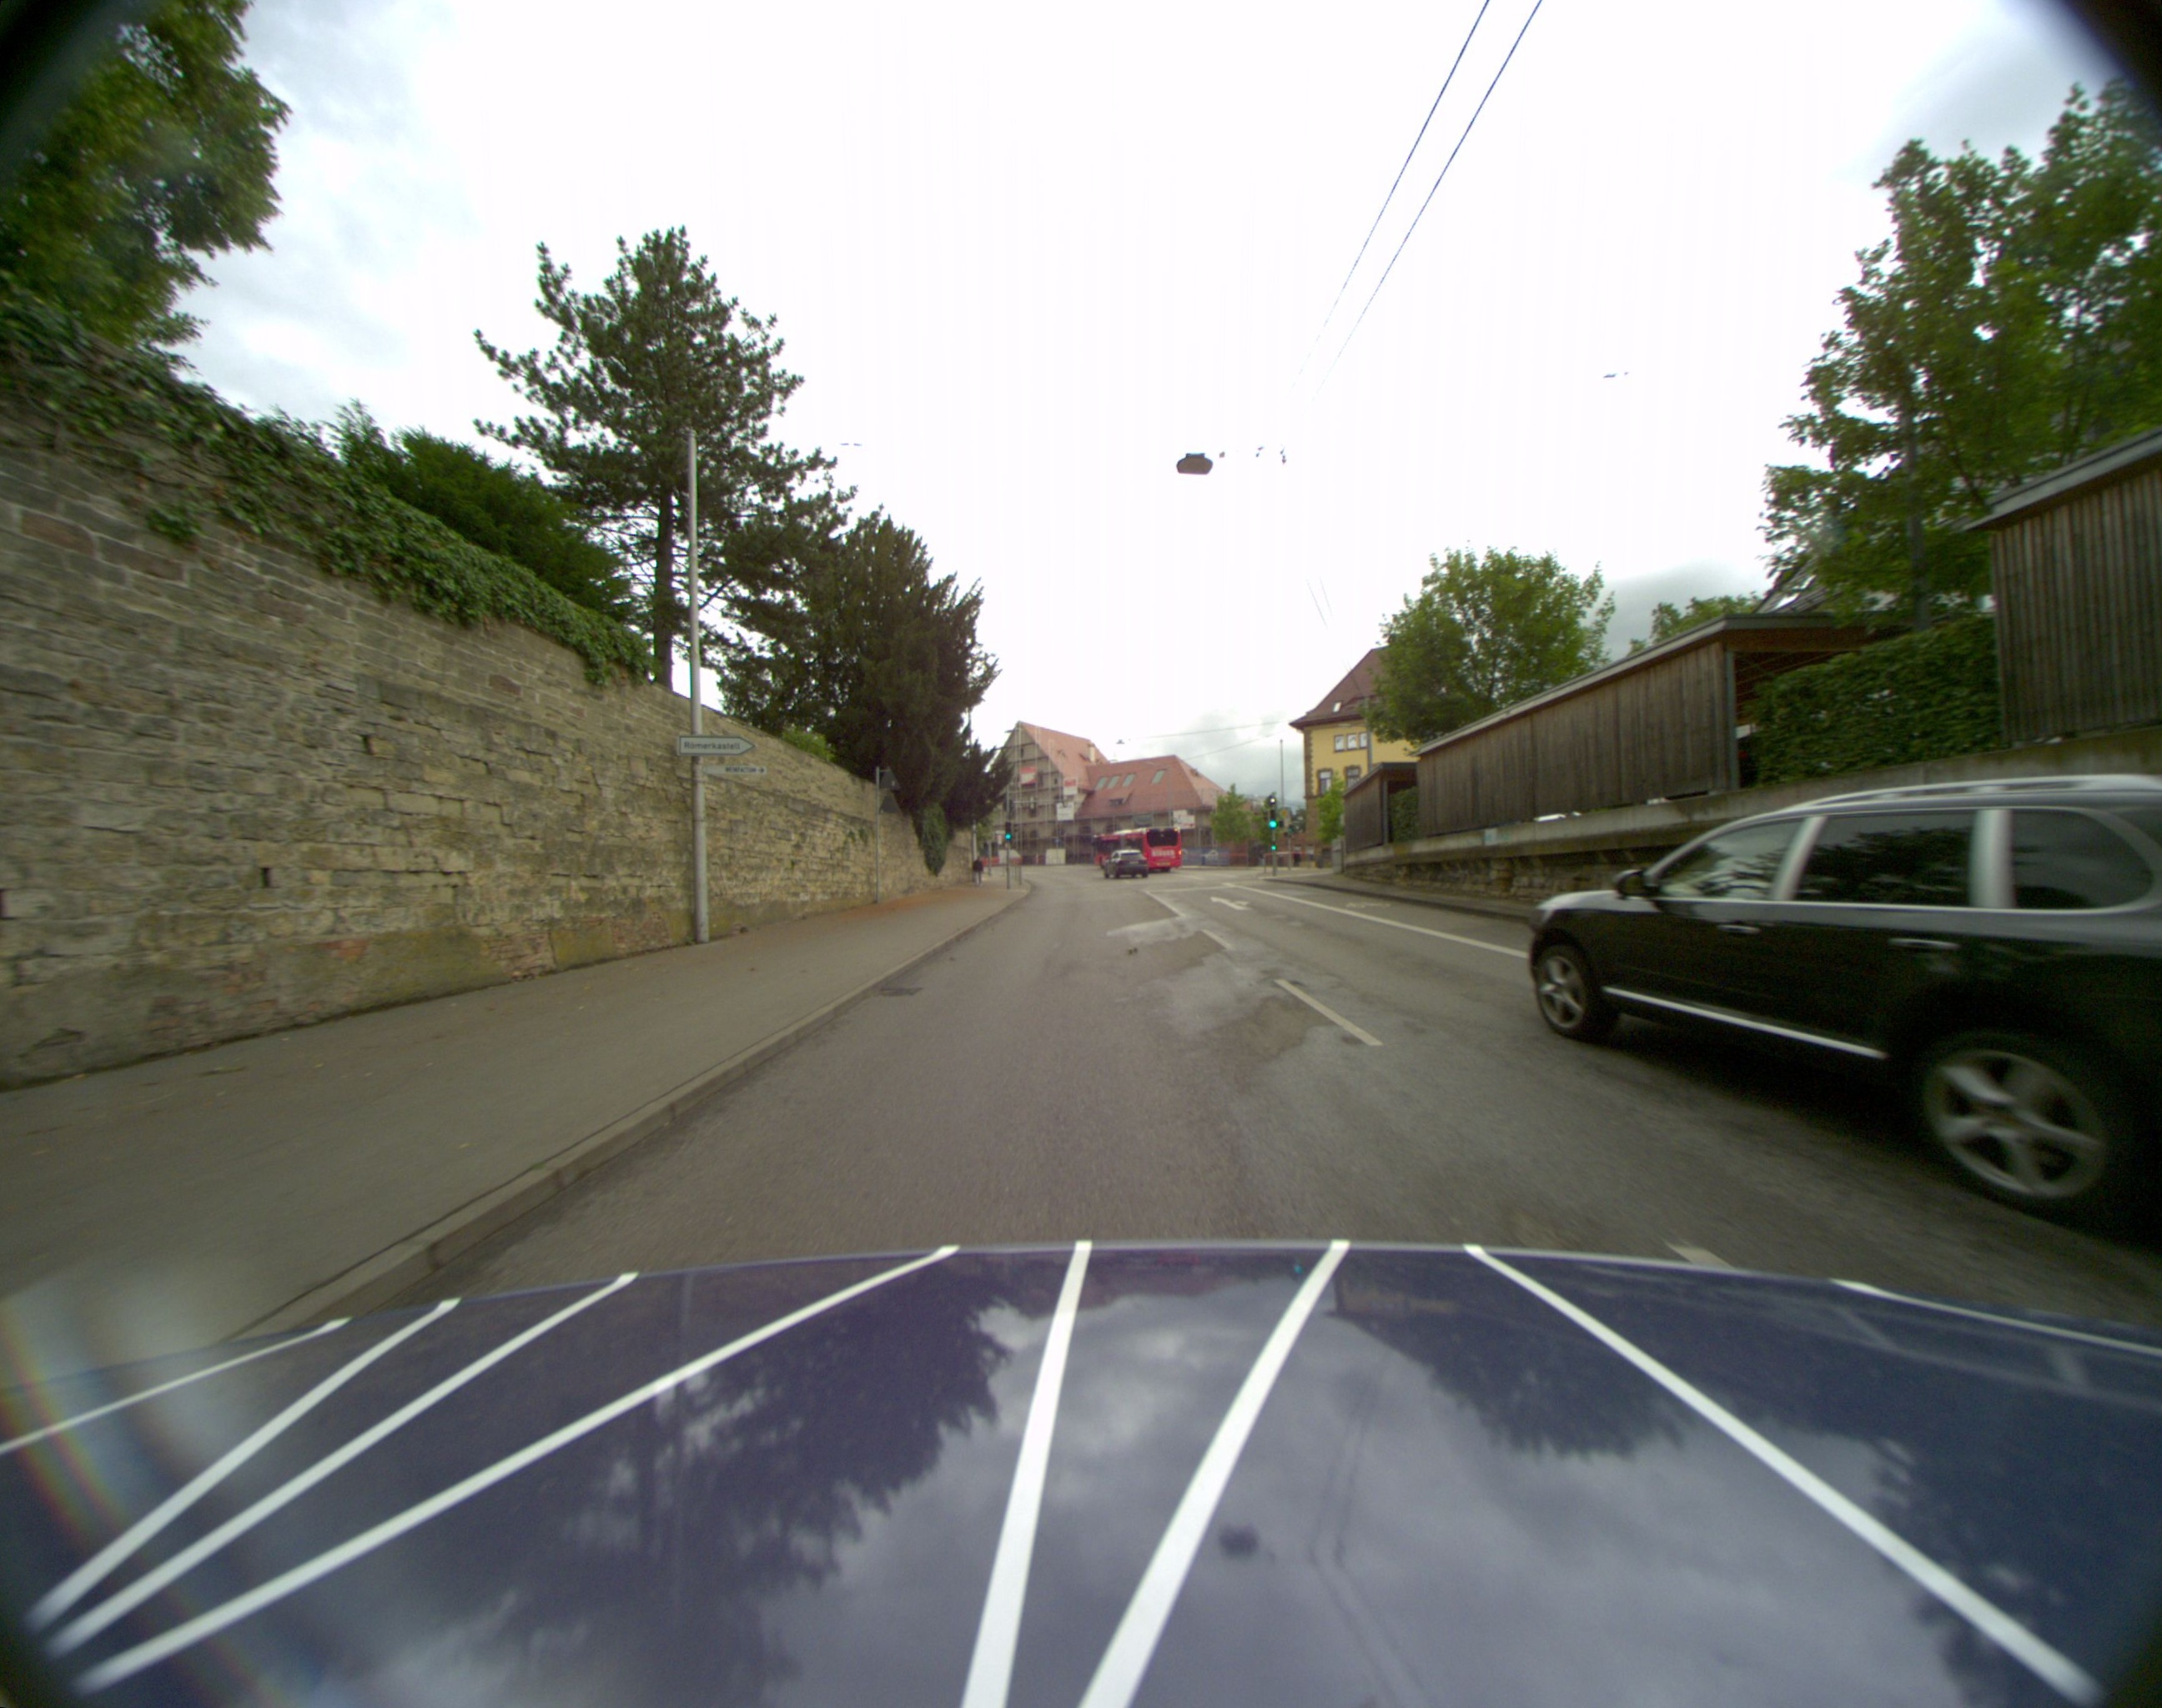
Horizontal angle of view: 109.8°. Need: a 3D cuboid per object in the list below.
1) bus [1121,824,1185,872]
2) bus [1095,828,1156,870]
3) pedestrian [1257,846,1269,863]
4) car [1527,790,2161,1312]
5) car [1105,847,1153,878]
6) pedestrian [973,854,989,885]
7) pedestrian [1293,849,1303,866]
[{"bbox_3d":[4.992,-0.399,54.303,2.666,3.103,8.287,-3,0,-7],"label":"bus"},{"bbox_3d":[3.511,-0.382,63.400,2.666,3.103,10.009,-3,0,-10],"label":"bus"},{"bbox_3d":[17.948,0.025,74.995,0.796,1.710,0.928,0,1,39],"label":"pedestrian"},{"bbox_3d":[4.573,0.640,3.980,1.899,1.746,4.437,0,1,1],"label":"car"},{"bbox_3d":[2.791,0.468,45.420,1.928,1.621,4.519,-4,1,-8],"label":"car"},{"bbox_3d":[-5.043,0.776,38.343,0.733,1.567,0.743,1,0,-2],"label":"pedestrian"},{"bbox_3d":[19.954,0.343,69.839,0.541,1.568,0.651,-1,1,-39],"label":"pedestrian"}]
